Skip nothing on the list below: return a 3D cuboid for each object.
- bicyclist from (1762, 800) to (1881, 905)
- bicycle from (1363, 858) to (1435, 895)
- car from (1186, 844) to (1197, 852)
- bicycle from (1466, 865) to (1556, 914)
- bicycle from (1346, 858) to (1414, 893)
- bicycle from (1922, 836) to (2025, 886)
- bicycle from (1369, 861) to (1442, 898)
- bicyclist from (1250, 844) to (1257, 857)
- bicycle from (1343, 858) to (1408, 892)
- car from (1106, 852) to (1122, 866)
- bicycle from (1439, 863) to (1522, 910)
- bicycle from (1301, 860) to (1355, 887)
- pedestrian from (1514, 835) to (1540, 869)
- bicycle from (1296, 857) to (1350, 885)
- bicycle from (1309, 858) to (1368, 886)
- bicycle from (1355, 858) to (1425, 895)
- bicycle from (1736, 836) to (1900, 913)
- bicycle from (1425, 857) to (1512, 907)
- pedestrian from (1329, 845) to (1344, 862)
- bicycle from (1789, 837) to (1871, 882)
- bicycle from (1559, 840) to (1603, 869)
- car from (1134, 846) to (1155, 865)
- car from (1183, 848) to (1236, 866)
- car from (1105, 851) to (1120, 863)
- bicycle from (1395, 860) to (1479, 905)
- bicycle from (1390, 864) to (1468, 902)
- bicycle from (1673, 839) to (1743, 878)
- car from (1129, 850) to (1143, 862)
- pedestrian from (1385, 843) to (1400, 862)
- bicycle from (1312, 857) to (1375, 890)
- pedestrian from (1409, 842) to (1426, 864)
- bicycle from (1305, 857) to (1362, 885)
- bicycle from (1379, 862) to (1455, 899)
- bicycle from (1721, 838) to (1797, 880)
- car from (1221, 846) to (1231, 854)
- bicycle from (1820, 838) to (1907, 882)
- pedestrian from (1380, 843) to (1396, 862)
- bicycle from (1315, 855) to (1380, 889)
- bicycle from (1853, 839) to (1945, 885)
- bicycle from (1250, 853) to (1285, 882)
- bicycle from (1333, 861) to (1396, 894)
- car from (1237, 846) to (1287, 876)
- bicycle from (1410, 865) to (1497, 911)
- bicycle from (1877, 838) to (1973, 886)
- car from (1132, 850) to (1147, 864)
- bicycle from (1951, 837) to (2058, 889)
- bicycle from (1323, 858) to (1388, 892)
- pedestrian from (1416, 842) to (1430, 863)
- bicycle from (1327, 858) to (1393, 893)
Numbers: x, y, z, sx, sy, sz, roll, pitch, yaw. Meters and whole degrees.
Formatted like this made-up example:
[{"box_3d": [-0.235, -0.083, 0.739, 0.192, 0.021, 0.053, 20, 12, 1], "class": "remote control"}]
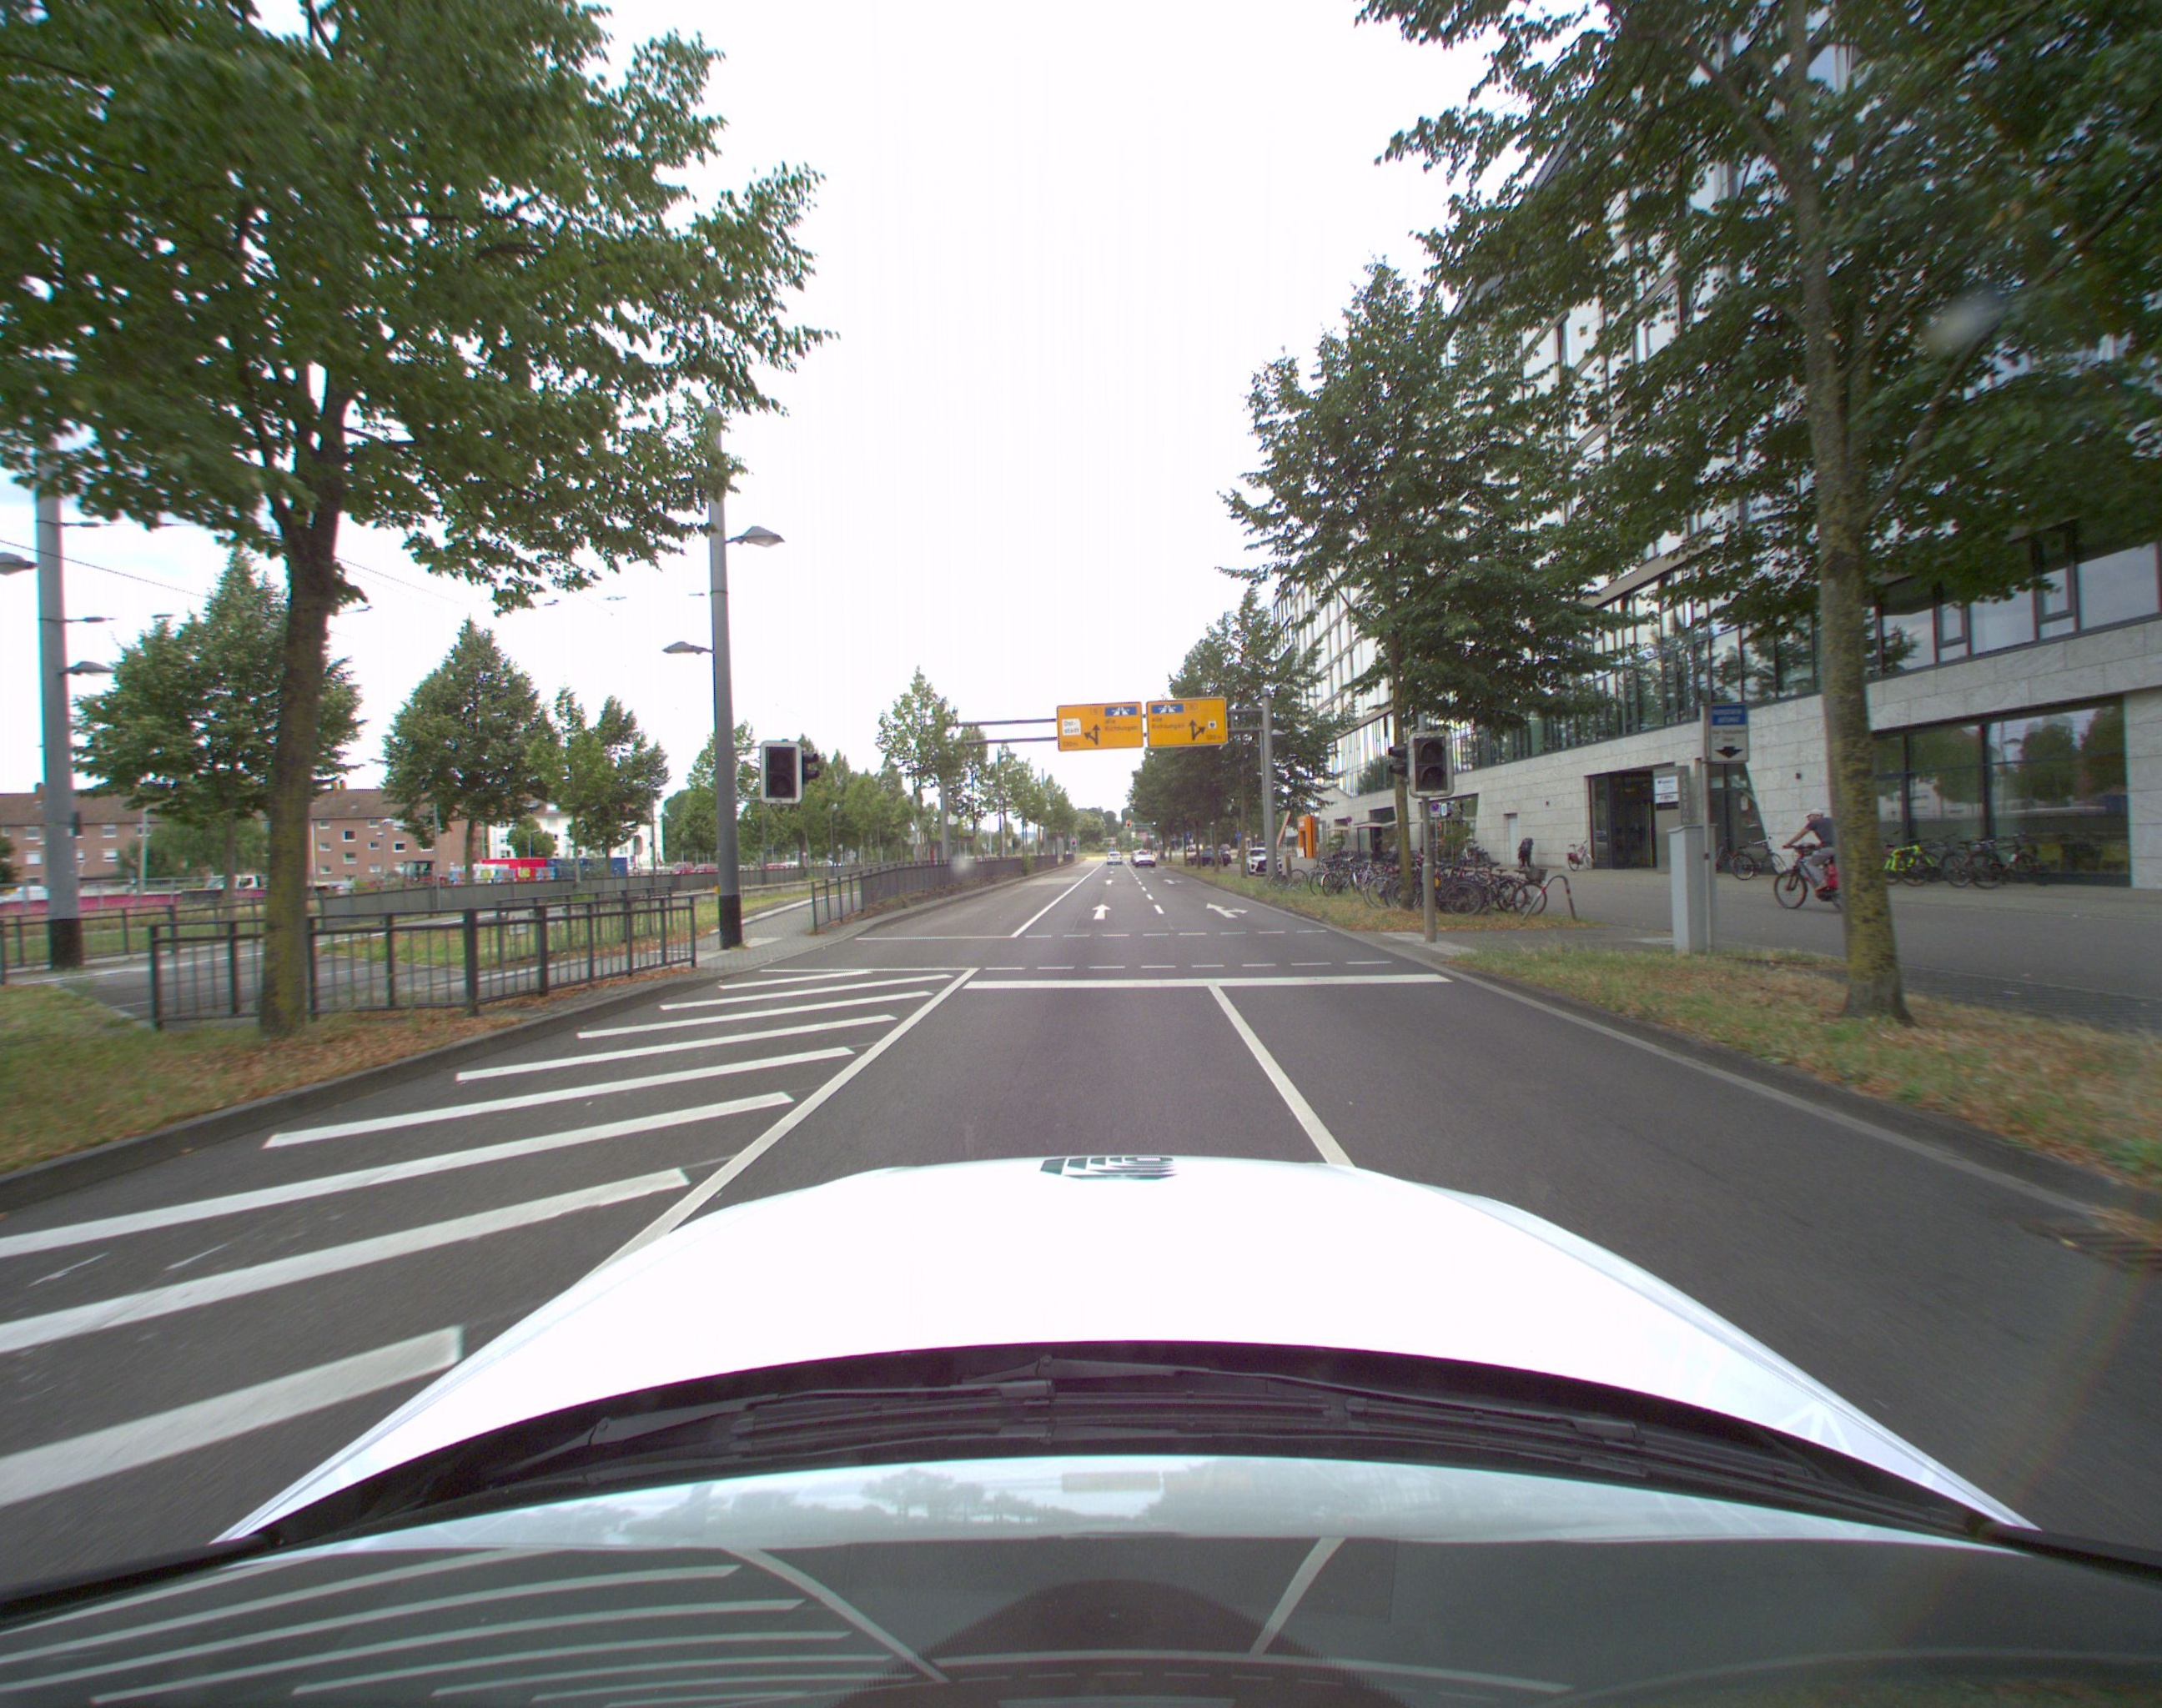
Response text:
[{"box_3d": [13.307, -0.023, 14.683, 0.993, 1.737, 1.130, -5, 0, 1], "class": "bicyclist"}, {"box_3d": [8.605, 0.603, 22.051, 1.712, 0.974, 0.608, 1, 0, -6], "class": "bicycle"}, {"box_3d": [24.314, -1.294, 179.190, 1.988, 1.791, 3.998, 0, 0, -1], "class": "car"}, {"box_3d": [8.640, 0.710, 16.379, 1.524, 0.953, 0.552, 0, 0, -1], "class": "bicycle"}, {"box_3d": [8.633, 0.619, 23.541, 1.741, 0.974, 0.608, 1, 0, -6], "class": "bicycle"}, {"box_3d": [18.375, 0.147, 16.781, 1.524, 0.953, 0.533, -2, 0, -1], "class": "bicycle"}, {"box_3d": [8.512, 0.663, 21.393, 1.712, 0.906, 0.587, 1, 0, -6], "class": "bicycle"}, {"box_3d": [21.669, -0.487, 102.195, 0.721, 1.582, 0.990, -2, 0, 3], "class": "bicyclist"}, {"box_3d": [8.804, 0.639, 24.384, 1.741, 0.974, 0.608, 1, 0, -6], "class": "bicycle"}, {"box_3d": [3.817, 0.561, 95.270, 1.767, 1.448, 3.911, -2, 0, 1], "class": "car"}, {"box_3d": [8.414, 0.678, 17.157, 1.524, 0.953, 0.484, 0, 0, -1], "class": "bicycle"}, {"box_3d": [9.064, 0.704, 29.901, 1.855, 0.951, 0.501, 1, 0, -1], "class": "bicycle"}, {"box_3d": [19.167, -0.095, 35.012, 0.752, 1.407, 0.723, -2, 0, 9], "class": "pedestrian"}, {"box_3d": [9.068, 0.636, 30.568, 1.855, 0.995, 0.574, 1, 0, -1], "class": "bicycle"}, {"box_3d": [8.960, 0.626, 28.412, 1.855, 0.951, 0.612, 1, 0, -1], "class": "bicycle"}, {"box_3d": [8.598, 0.619, 22.701, 1.741, 0.974, 0.608, 1, 0, -6], "class": "bicycle"}, {"box_3d": [13.380, 0.341, 14.908, 0.899, 1.235, 2.269, -5, 0, 1], "class": "bicycle"}, {"box_3d": [8.501, 0.611, 17.892, 1.663, 1.090, 0.525, 0, 0, -1], "class": "bicycle"}, {"box_3d": [19.527, -0.061, 62.316, 0.893, 1.228, 0.952, -2, 0, 7], "class": "pedestrian"}, {"box_3d": [18.465, 0.128, 20.092, 1.524, 1.026, 0.533, -2, 0, -1], "class": "bicycle"}, {"box_3d": [19.098, 0.027, 31.103, 1.605, 1.026, 0.605, -3, 0, -25], "class": "bicycle"}, {"box_3d": [5.891, 0.095, 75.934, 1.771, 1.656, 4.026, -2, 0, 3], "class": "car"}, {"box_3d": [11.383, 0.287, 72.310, 1.954, 1.475, 4.821, -2, 0, -32], "class": "car"}, {"box_3d": [4.050, 0.361, 103.794, 1.767, 1.448, 3.911, -2, 0, 1], "class": "car"}, {"box_3d": [8.481, 0.672, 19.416, 1.770, 1.012, 0.609, 1, 0, -6], "class": "bicycle"}, {"box_3d": [8.604, 0.713, 20.141, 1.712, 0.906, 0.587, 1, 0, -6], "class": "bicycle"}, {"box_3d": [18.282, 0.124, 23.763, 1.593, 1.026, 0.533, -3, 0, -1], "class": "bicycle"}, {"box_3d": [7.191, 0.270, 106.284, 1.619, 1.448, 3.911, -1, 0, 1], "class": "car"}, {"box_3d": [20.217, -0.083, 52.897, 0.715, 1.192, 0.760, -2, 0, 4], "class": "pedestrian"}, {"box_3d": [8.917, 0.644, 27.720, 1.924, 1.065, 0.705, 1, 0, -1], "class": "bicycle"}, {"box_3d": [19.006, -0.057, 46.056, 0.766, 1.192, 1.111, -2, 0, 17], "class": "pedestrian"}, {"box_3d": [9.026, 0.598, 29.152, 1.855, 0.951, 0.652, 1, 0, -1], "class": "bicycle"}, {"box_3d": [8.549, 0.678, 20.757, 1.712, 0.906, 0.587, 1, 0, -6], "class": "bicycle"}, {"box_3d": [18.236, 0.134, 21.918, 1.593, 1.026, 0.533, -3, 0, -1], "class": "bicycle"}, {"box_3d": [30.924, -0.877, 173.381, 1.771, 1.636, 4.417, -2, 0, 12], "class": "car"}, {"box_3d": [18.394, 0.146, 19.152, 1.524, 0.953, 0.533, -2, 0, -1], "class": "bicycle"}, {"box_3d": [20.266, -0.080, 53.748, 0.716, 1.192, 0.759, -2, 0, 1], "class": "pedestrian"}, {"box_3d": [8.811, 0.596, 26.963, 1.924, 1.065, 0.641, 1, 0, -1], "class": "bicycle"}, {"box_3d": [18.390, 0.176, 18.327, 1.524, 0.953, 0.533, -2, 0, -1], "class": "bicycle"}, {"box_3d": [7.613, 0.532, 33.360, 0.709, 1.115, 2.199, 1, 0, -5], "class": "bicycle"}, {"box_3d": [8.704, 0.711, 25.008, 1.741, 0.974, 0.608, 1, 0, -6], "class": "bicycle"}, {"box_3d": [10.214, 0.368, 46.328, 1.931, 1.552, 4.595, -2, 0, 2], "class": "car"}, {"box_3d": [8.543, 0.765, 18.721, 1.770, 1.012, 0.609, 0, 0, -6], "class": "bicycle"}, {"box_3d": [18.353, 0.173, 17.722, 1.524, 0.953, 0.533, -2, 0, -1], "class": "bicycle"}, {"box_3d": [7.064, 0.318, 98.618, 1.780, 1.624, 3.913, -2, 0, 3], "class": "car"}, {"box_3d": [18.378, 0.178, 16.221, 1.524, 0.953, 0.533, -2, 0, -1], "class": "bicycle"}, {"box_3d": [8.825, 0.670, 26.231, 1.927, 1.065, 0.542, 1, 0, -7], "class": "bicycle"}, {"box_3d": [19.808, -0.077, 47.191, 0.712, 1.192, 0.763, -2, 0, 24], "class": "pedestrian"}, {"box_3d": [8.789, 0.669, 25.652, 1.927, 1.065, 0.542, 1, 0, -7], "class": "bicycle"}]
